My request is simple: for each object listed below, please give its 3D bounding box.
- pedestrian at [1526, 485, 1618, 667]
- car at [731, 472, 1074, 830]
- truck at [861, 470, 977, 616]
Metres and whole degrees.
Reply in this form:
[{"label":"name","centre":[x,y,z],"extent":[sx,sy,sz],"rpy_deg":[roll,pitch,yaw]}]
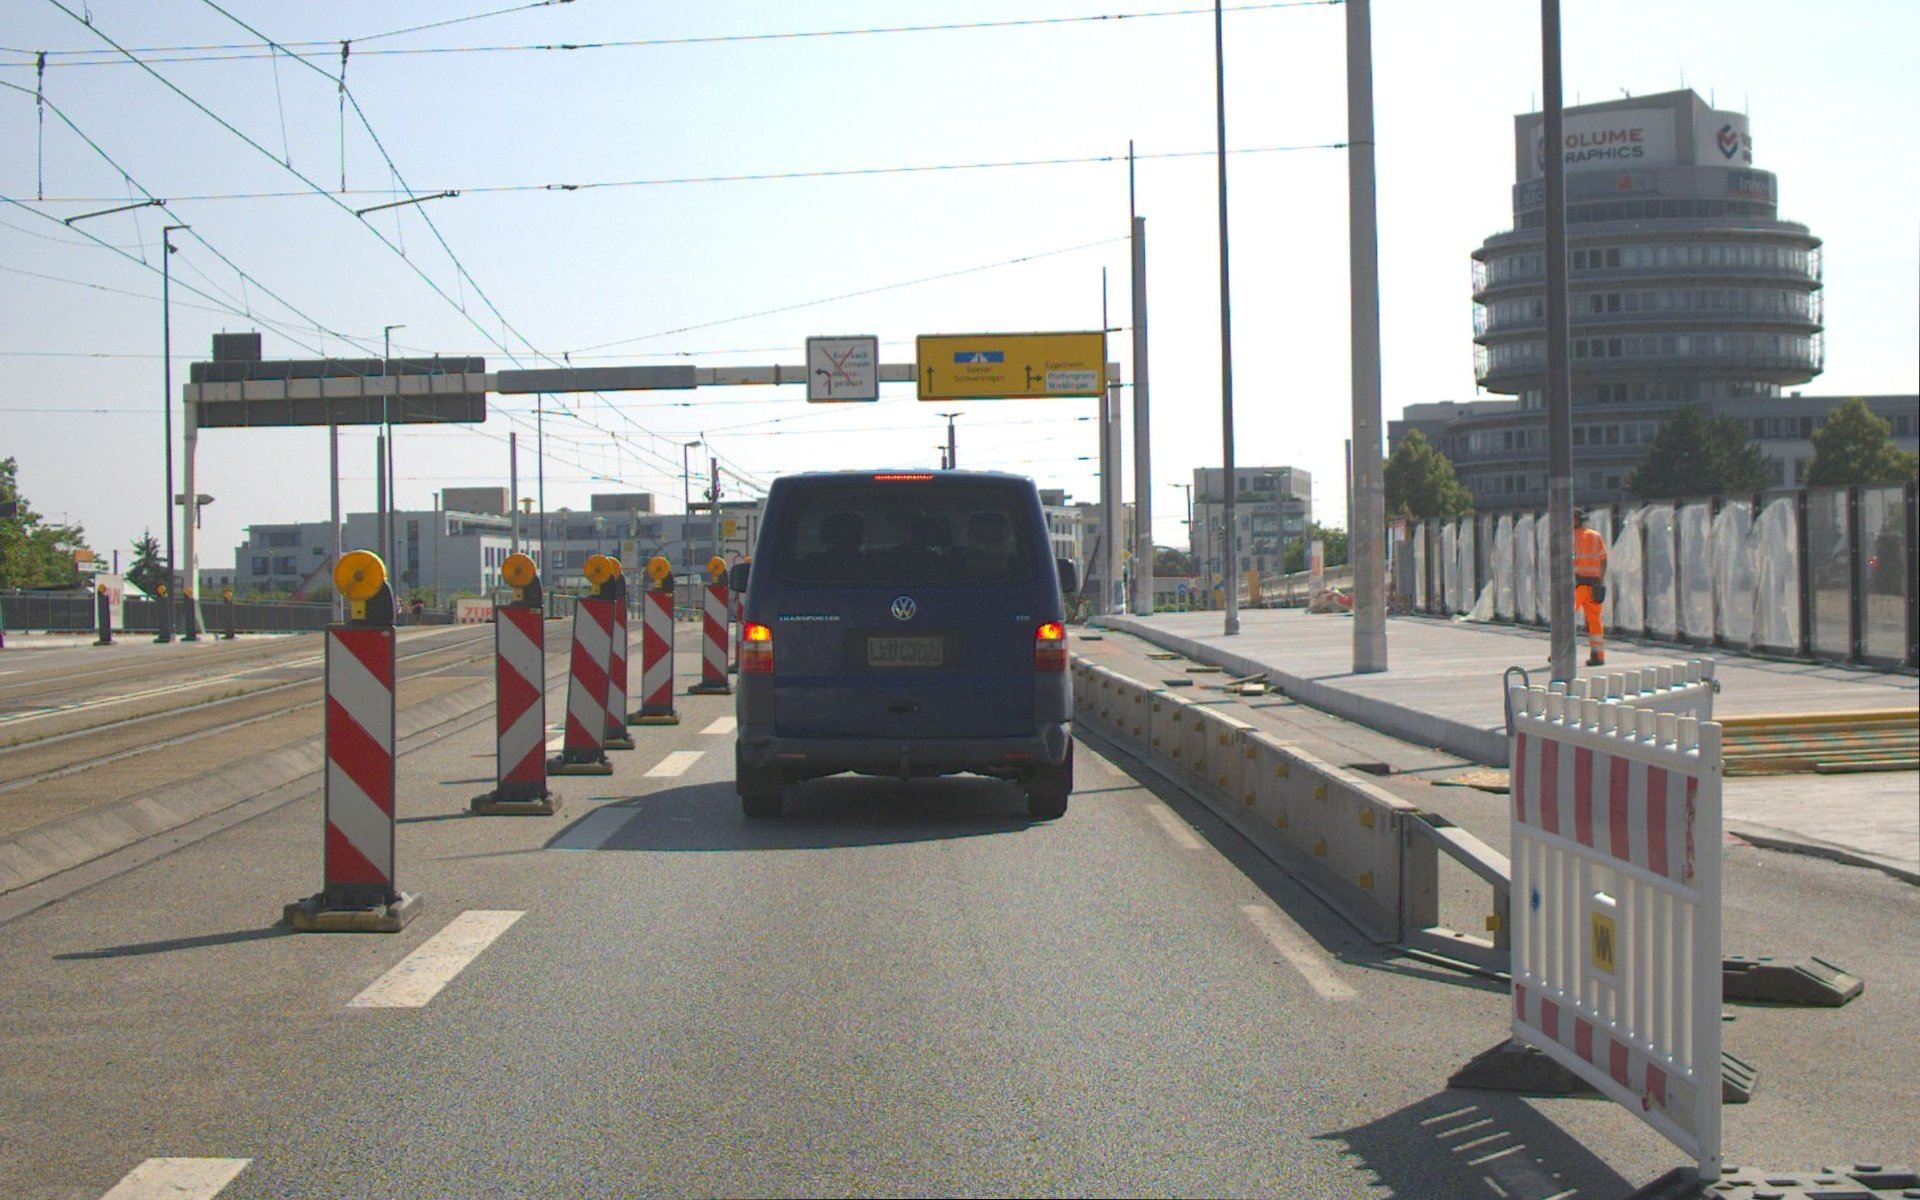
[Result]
[{"label":"pedestrian","centre":[6.641,-0.257,37.345],"extent":[0.782,1.928,0.799],"rpy_deg":[-2,0,-1]},{"label":"car","centre":[-0.322,0.225,20.489],"extent":[1.815,1.899,4.055],"rpy_deg":[-1,1,0]},{"label":"truck","centre":[-0.951,-1.382,80.200],"extent":[2.460,3.124,11.217],"rpy_deg":[-1,1,-1]}]
